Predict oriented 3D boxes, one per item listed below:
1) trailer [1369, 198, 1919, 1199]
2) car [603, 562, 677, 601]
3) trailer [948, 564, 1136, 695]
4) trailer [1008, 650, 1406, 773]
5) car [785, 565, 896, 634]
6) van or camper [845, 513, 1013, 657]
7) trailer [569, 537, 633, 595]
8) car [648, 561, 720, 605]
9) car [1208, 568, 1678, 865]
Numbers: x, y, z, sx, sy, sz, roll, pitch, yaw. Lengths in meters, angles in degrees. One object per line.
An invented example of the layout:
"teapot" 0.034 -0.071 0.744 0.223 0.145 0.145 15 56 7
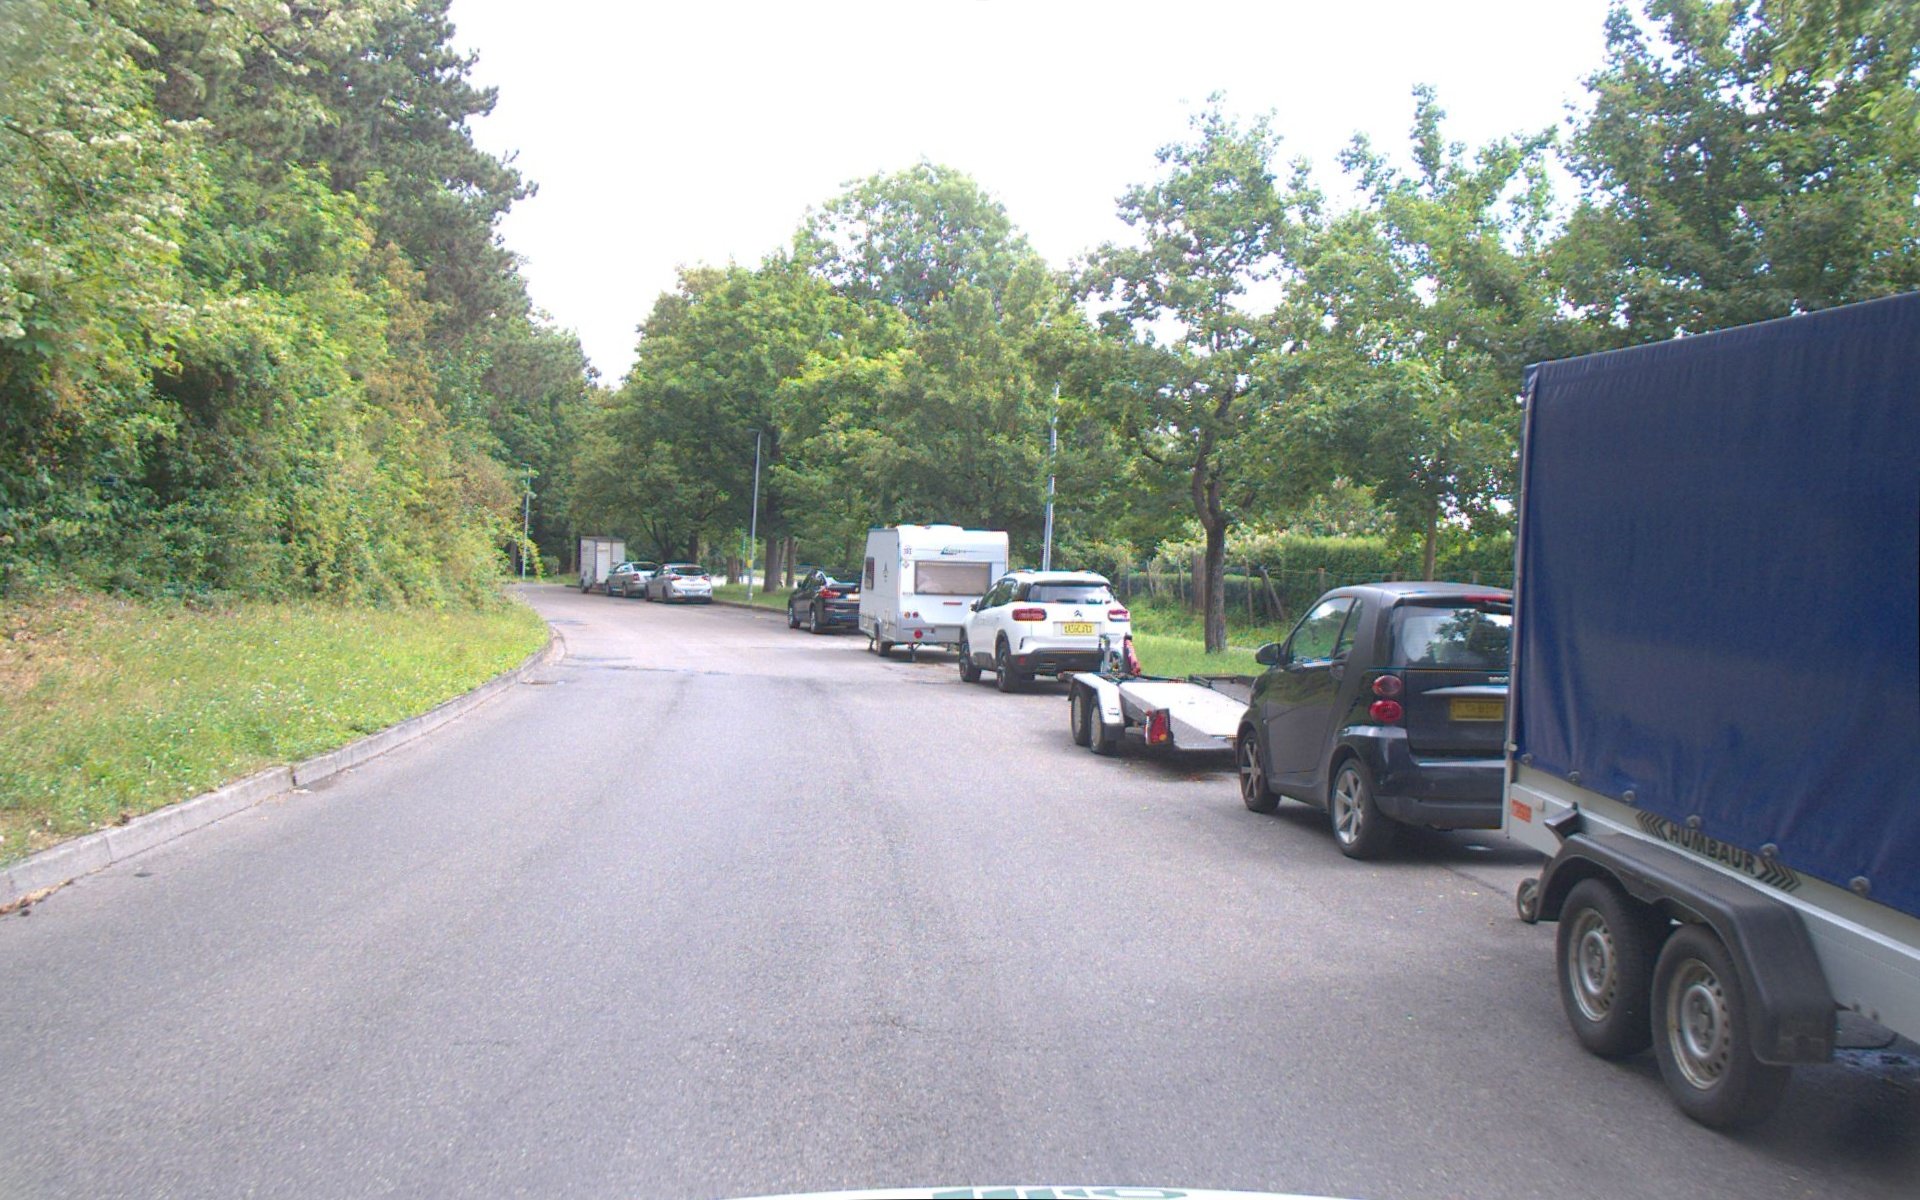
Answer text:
"trailer" 3.051 0.258 5.518 2.064 2.402 4.701 0 2 -2
"car" -13.307 -0.797 68.524 1.722 1.551 4.592 1 1 -28
"trailer" 1.100 0.405 24.653 1.741 1.761 4.637 0 0 -11
"trailer" 2.067 0.985 16.268 2.065 0.662 6.388 2 0 -9
"car" -3.177 -0.049 43.038 1.820 1.671 4.508 1 1 -18
"van or camper" -0.768 -0.303 33.619 2.124 2.580 6.011 2 0 -13
"trailer" -15.924 -1.528 73.195 1.741 2.469 3.850 1 1 -29
"car" -10.448 -0.614 62.471 1.875 1.502 4.033 3 -2 -21
"car" 2.881 0.658 10.635 1.696 1.549 3.400 2 -1 -6
